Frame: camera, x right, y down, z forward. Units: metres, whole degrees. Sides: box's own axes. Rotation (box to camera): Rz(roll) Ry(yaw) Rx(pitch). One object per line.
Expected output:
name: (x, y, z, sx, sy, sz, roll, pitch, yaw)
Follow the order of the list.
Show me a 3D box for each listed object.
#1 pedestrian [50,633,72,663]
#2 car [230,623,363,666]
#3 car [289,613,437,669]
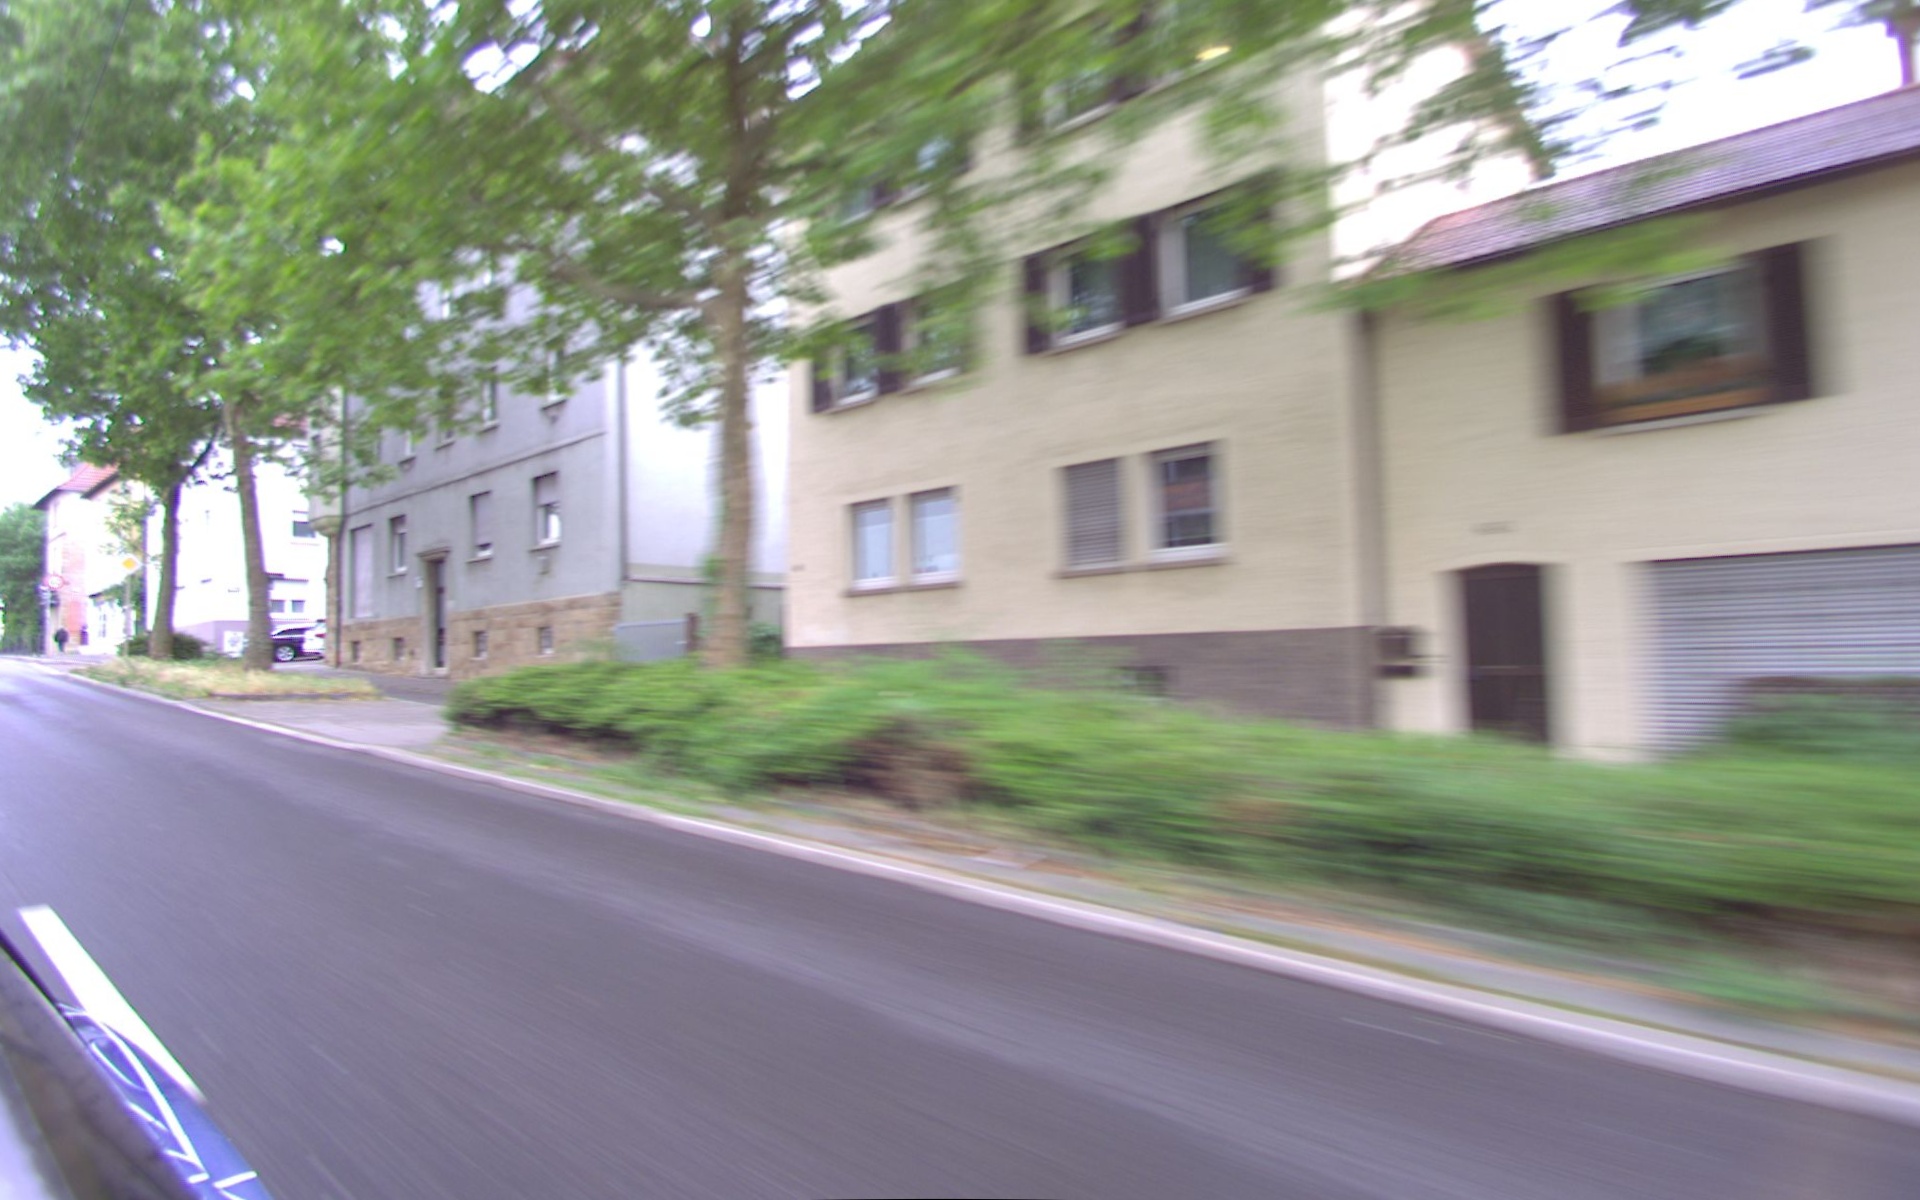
pedestrian: (-52.005, 2.792, 58.535, 0.992, 1.692, 0.807, -2, -2, 39)
car: (-26.097, 1.730, 39.886, 1.999, 1.408, 3.946, -3, 0, 40)
car: (-21.587, 1.456, 36.703, 1.999, 1.716, 4.139, -3, 0, 41)
